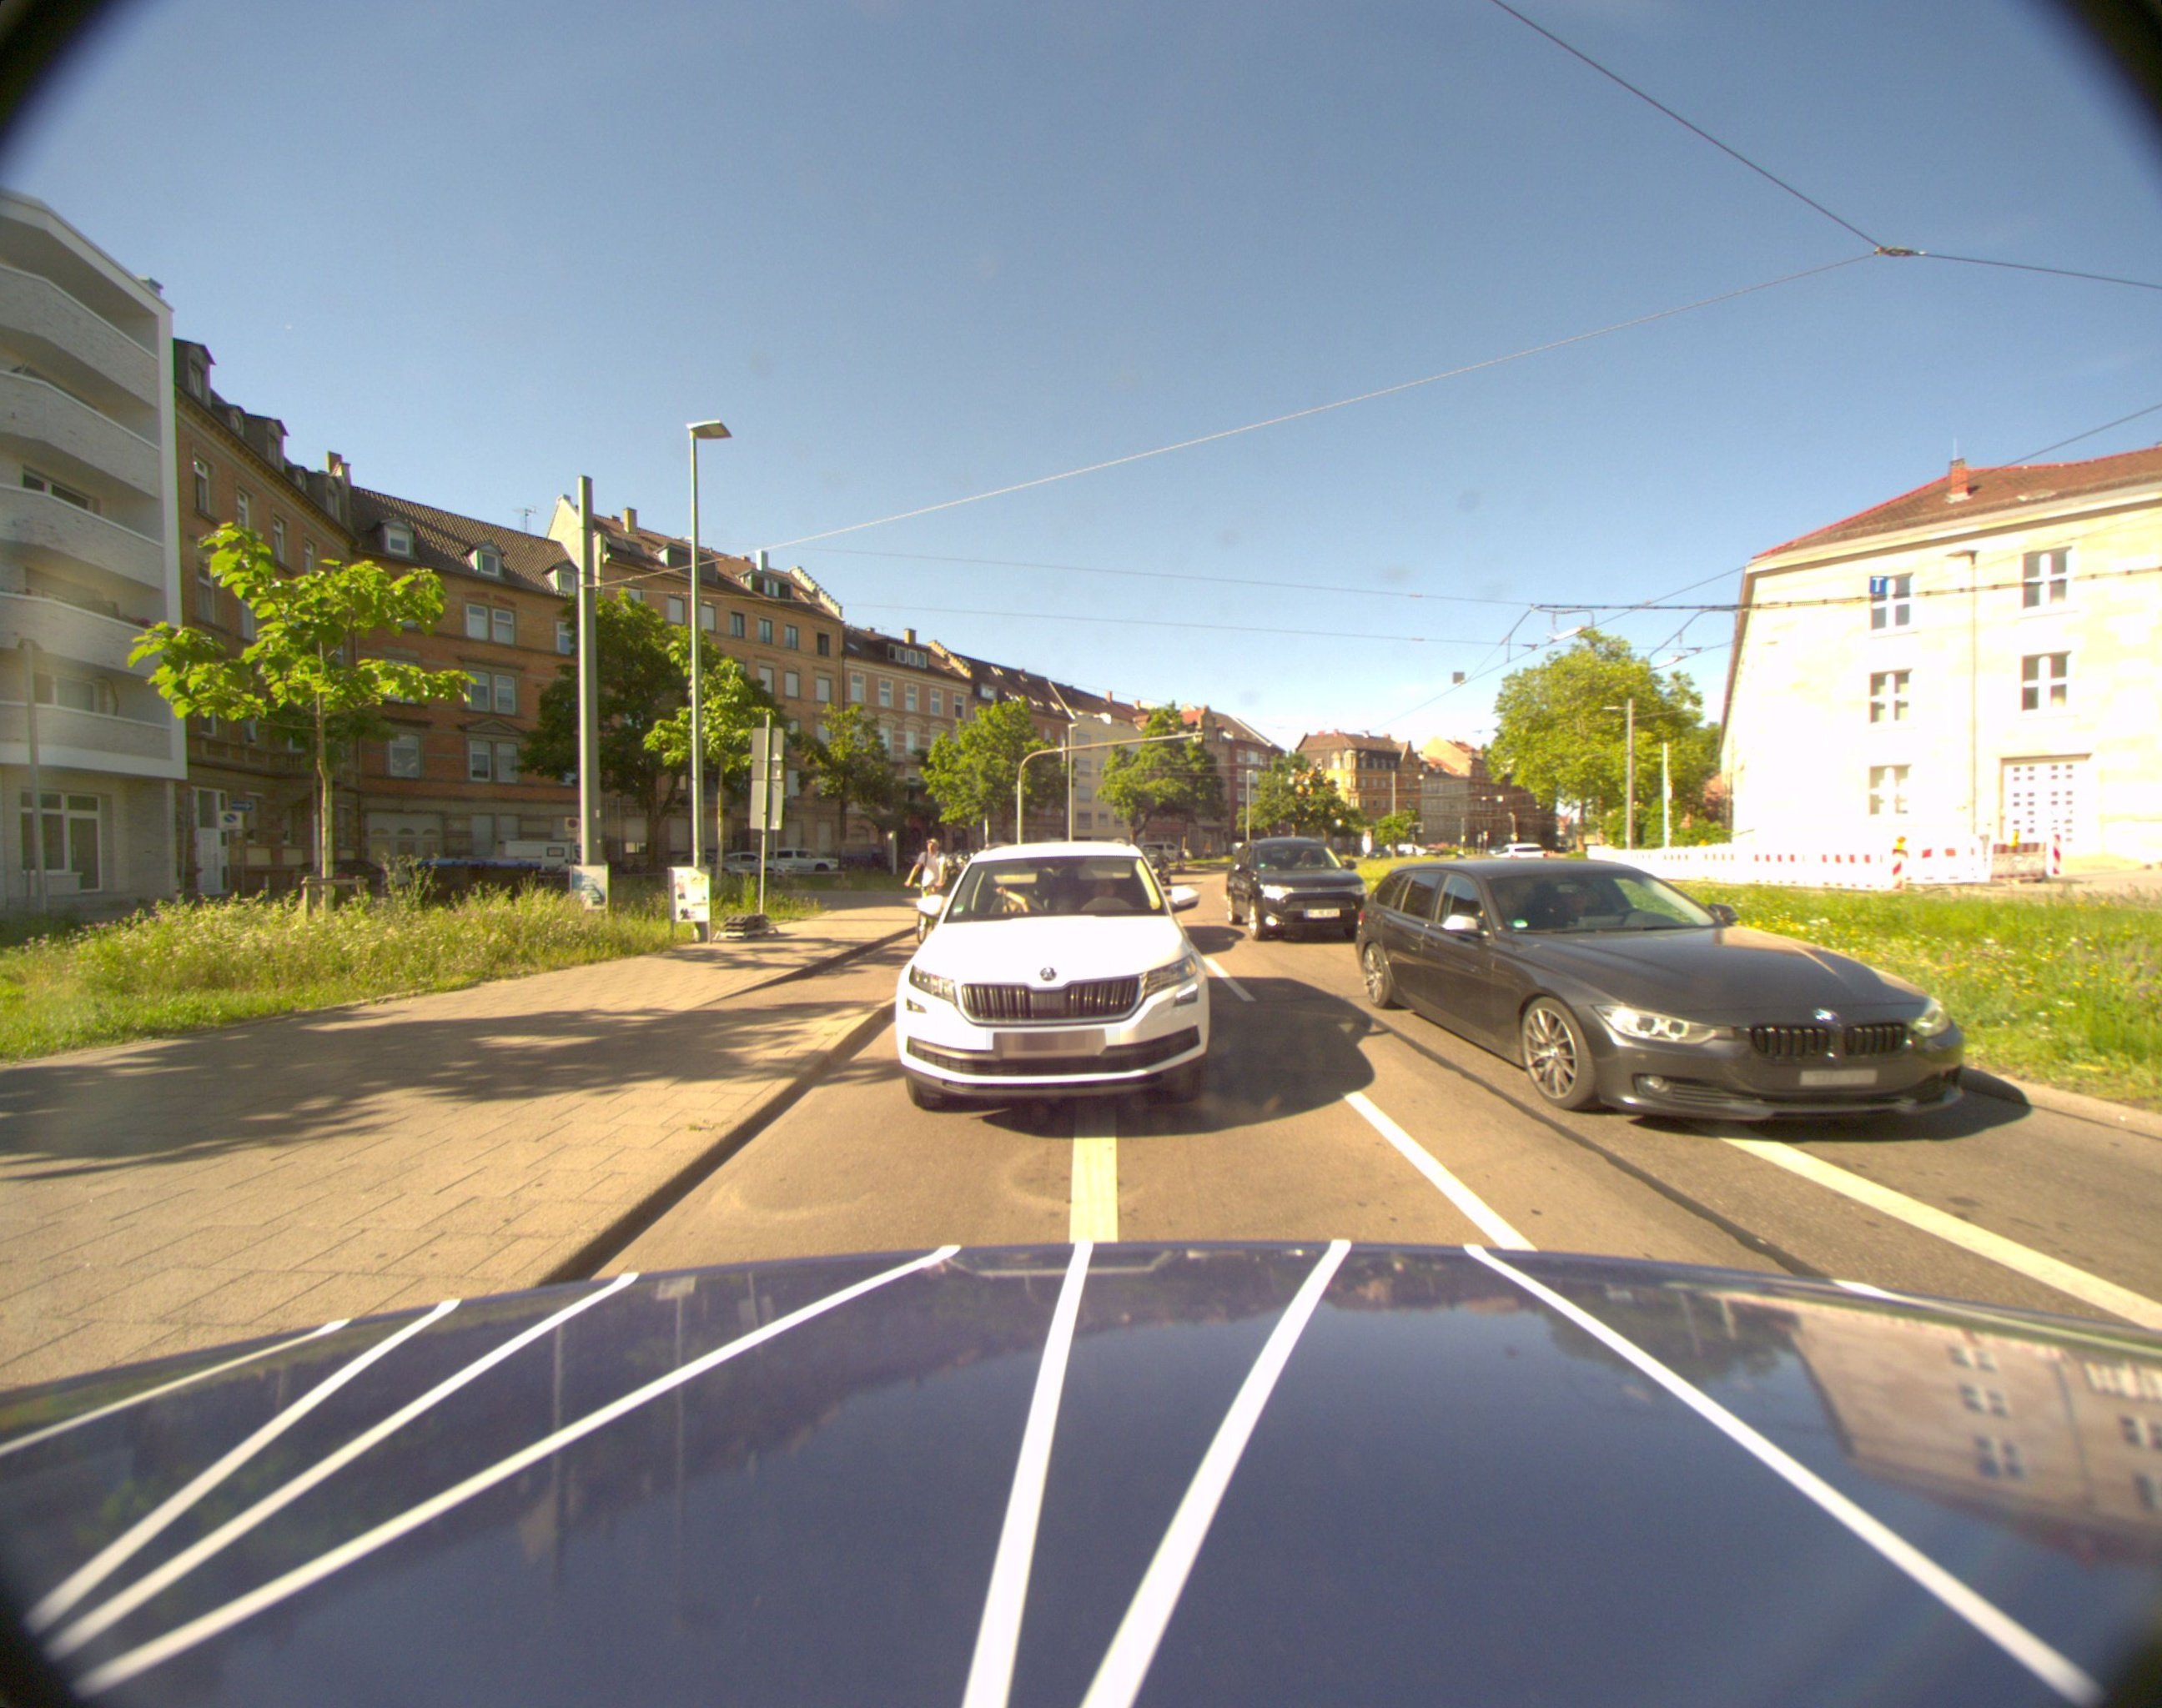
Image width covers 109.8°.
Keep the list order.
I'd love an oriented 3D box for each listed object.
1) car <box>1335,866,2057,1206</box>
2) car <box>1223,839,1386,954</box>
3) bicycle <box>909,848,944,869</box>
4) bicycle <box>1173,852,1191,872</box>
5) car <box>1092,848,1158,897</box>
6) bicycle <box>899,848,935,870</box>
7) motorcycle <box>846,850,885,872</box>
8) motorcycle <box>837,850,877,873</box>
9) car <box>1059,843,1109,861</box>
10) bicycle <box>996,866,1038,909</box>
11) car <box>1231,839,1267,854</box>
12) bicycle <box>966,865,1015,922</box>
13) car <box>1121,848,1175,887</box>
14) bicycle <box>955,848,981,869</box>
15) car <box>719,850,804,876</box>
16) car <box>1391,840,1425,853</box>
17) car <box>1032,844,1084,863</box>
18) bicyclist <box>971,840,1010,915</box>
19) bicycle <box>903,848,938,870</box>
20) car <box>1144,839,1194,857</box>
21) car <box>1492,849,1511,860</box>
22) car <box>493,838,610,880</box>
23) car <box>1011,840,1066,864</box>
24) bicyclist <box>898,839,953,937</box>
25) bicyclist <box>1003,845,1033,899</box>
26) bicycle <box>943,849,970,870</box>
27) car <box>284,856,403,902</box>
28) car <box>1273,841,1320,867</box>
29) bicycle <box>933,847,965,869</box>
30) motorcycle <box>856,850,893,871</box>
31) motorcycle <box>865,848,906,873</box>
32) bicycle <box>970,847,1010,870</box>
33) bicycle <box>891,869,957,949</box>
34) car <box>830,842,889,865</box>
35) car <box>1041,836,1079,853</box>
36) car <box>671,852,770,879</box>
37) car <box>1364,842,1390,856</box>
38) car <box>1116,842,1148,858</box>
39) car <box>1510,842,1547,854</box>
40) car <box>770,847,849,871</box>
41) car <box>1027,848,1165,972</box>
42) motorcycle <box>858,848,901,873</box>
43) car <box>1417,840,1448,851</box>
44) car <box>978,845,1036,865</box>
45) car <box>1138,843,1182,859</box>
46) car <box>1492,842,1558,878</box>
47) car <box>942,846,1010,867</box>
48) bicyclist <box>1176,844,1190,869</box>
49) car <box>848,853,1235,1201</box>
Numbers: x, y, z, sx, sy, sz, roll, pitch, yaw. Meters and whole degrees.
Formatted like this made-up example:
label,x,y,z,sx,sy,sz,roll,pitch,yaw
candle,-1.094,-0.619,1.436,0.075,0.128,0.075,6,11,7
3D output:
label,x,y,z,sx,sy,sz,roll,pitch,yaw
car,3.478,0.847,5.591,1.741,1.359,4.426,-2,0,1
car,3.697,0.623,13.395,1.841,1.636,4.399,-2,0,5
bicycle,-9.509,0.278,46.709,2.198,1.260,0.664,-2,1,32
bicycle,7.009,0.548,52.418,0.735,1.353,2.078,0,1,21
car,1.644,0.596,26.954,1.838,1.543,4.151,0,1,10
bicycle,-9.742,0.305,45.067,2.198,1.260,0.664,-2,1,30
motorcycle,-12.939,0.414,45.622,2.314,1.276,0.664,-2,1,24
motorcycle,-13.288,0.437,45.017,2.314,1.270,0.664,-2,1,24
car,0.262,-0.162,61.161,3.823,1.398,1.600,0,1,6
bicycle,-1.923,0.978,23.133,0.637,1.190,2.156,-1,1,13
car,18.697,-0.824,84.655,3.823,1.581,1.600,0,1,6
bicycle,-2.299,0.985,19.548,0.758,1.293,2.155,-1,1,6
car,3.124,0.554,34.863,1.837,1.637,4.152,0,1,14
bicycle,-7.122,0.306,47.751,0.664,1.260,2.199,-3,1,-36
car,-16.406,0.439,39.103,3.696,1.244,1.683,0,1,13
car,50.564,-1.183,117.471,4.578,1.864,2.004,-2,1,33
car,-1.774,-0.056,58.709,3.823,1.398,1.600,0,1,6
bicyclist,-2.317,0.589,19.449,0.809,1.855,0.749,-1,2,6
bicycle,-9.706,0.293,46.006,2.198,1.260,0.664,-2,1,32
car,8.200,-0.592,70.605,4.578,1.658,1.600,0,1,7
car,66.092,0.105,119.509,1.835,1.637,4.157,1,2,40
car,-27.117,0.217,39.008,2.047,2.026,4.510,1,2,41
car,-3.106,-0.139,56.101,3.825,1.698,1.682,0,1,3
bicyclist,-2.820,0.598,13.857,0.716,1.715,1.094,1,1,3
bicyclist,-1.908,0.535,23.238,0.630,1.619,0.972,-1,1,13
bicycle,-7.684,0.339,46.757,0.664,1.260,2.199,-3,1,-36
car,-26.168,0.829,27.146,1.835,1.419,4.378,-1,1,-27
car,18.099,-0.058,63.800,1.977,2.074,4.723,1,2,41
bicycle,-7.728,0.238,44.515,0.664,1.260,2.198,-3,1,-45
motorcycle,-12.601,0.400,46.402,2.199,1.260,0.664,-2,1,24
motorcycle,-11.148,0.356,43.291,2.200,1.315,0.664,-2,1,18
bicycle,-5.475,0.265,45.736,2.207,1.260,0.662,-3,1,-25
bicycle,-2.826,0.964,13.866,0.716,1.319,1.749,1,0,4
car,-15.609,-0.058,53.668,1.547,1.578,3.709,1,2,41
car,-1.937,-0.945,71.662,1.547,1.578,3.607,1,2,41
car,-17.499,0.533,36.904,4.156,1.244,1.683,0,1,13
car,31.961,-0.560,81.989,1.836,1.464,4.722,1,1,31
car,5.471,-0.425,80.724,1.547,1.578,3.607,1,2,41
car,61.486,-0.876,104.434,4.058,1.647,1.770,1,2,41
car,-14.680,0.255,41.192,3.700,1.244,1.540,0,1,2
car,0.235,0.760,12.605,1.842,1.636,4.397,-2,0,1
motorcycle,-11.178,0.373,42.204,2.200,1.322,0.663,-2,1,13
car,54.463,-1.355,117.652,4.058,1.647,1.770,1,2,34
car,-5.226,0.085,53.962,3.822,1.398,1.683,0,1,9
car,7.128,-0.252,68.176,3.823,1.372,1.600,0,1,9
car,21.205,0.259,36.468,1.822,1.636,4.187,-1,0,17
car,-7.042,0.173,51.292,4.322,1.398,1.682,0,1,3
bicyclist,7.017,0.157,52.413,0.734,1.685,0.973,0,1,22
car,-0.228,0.852,5.946,1.842,1.636,4.397,-2,0,-1
